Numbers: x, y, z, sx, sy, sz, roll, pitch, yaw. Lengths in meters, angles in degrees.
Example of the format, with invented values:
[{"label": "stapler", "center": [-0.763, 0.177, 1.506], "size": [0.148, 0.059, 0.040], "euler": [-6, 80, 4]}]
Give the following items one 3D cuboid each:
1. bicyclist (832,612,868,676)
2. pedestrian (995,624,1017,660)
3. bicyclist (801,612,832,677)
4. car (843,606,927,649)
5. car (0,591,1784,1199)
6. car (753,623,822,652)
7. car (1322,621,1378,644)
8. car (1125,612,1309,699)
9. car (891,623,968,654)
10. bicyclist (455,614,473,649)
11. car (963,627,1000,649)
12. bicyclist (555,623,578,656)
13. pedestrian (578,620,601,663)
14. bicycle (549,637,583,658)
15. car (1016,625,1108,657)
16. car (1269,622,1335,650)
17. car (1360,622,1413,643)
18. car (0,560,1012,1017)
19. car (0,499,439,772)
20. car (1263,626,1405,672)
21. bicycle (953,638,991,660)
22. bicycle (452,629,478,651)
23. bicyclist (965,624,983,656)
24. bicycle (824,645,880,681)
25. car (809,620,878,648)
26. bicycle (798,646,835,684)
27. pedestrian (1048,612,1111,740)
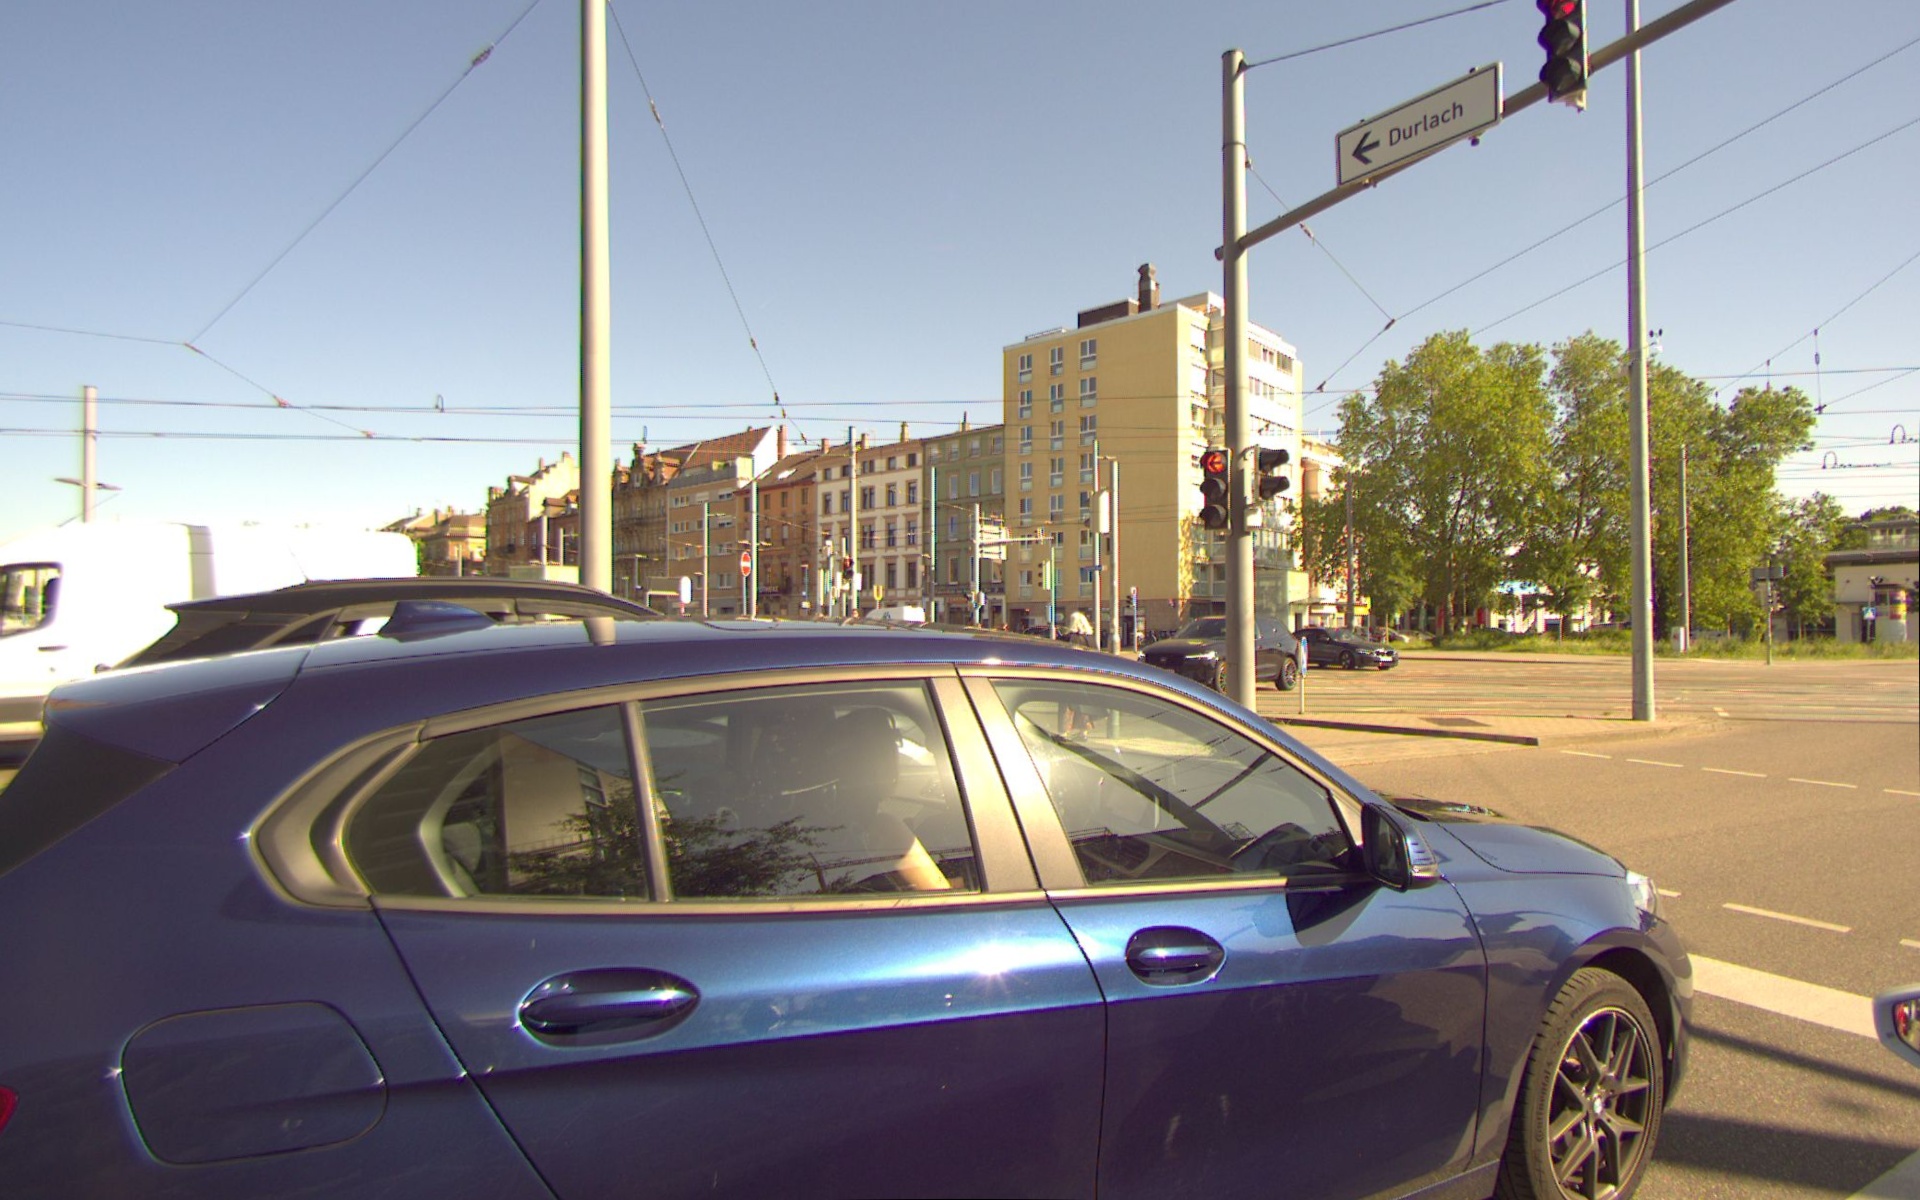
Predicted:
[{"label": "bicyclist", "center": [-2.918, 1.154, 26.613], "size": [0.672, 1.676, 0.777], "euler": [1, -1, -35]}, {"label": "pedestrian", "center": [2.073, 1.893, 45.237], "size": [0.669, 1.593, 0.740], "euler": [1, -2, -45]}, {"label": "bicyclist", "center": [-3.743, 1.147, 26.139], "size": [0.668, 1.676, 0.782], "euler": [0, -1, -18]}, {"label": "car", "center": [-5.029, 1.825, 66.967], "size": [5.838, 2.780, 2.133], "euler": [-1, -2, 42]}, {"label": "car", "center": [0.147, 0.759, 2.544], "size": [3.984, 1.464, 1.703], "euler": [1, 0, -30]}, {"label": "car", "center": [-10.383, 2.251, 60.349], "size": [4.245, 1.675, 1.849], "euler": [-2, -2, 41]}, {"label": "car", "center": [29.943, 2.500, 77.172], "size": [3.691, 1.684, 1.586], "euler": [-1, -2, 42]}, {"label": "car", "center": [5.543, 1.120, 21.451], "size": [4.040, 1.681, 1.848], "euler": [1, -2, -41]}, {"label": "car", "center": [-1.761, 2.167, 56.484], "size": [4.246, 1.675, 1.848], "euler": [-1, -2, 42]}, {"label": "bicyclist", "center": [-25.124, 1.589, 50.856], "size": [0.674, 1.735, 0.610], "euler": [1, -2, -44]}, {"label": "car", "center": [1.374, 2.494, 66.996], "size": [1.745, 1.446, 3.873], "euler": [0, -2, -10]}, {"label": "bicyclist", "center": [-17.506, 1.747, 44.677], "size": [0.774, 1.474, 0.675], "euler": [-1, -2, 42]}, {"label": "pedestrian", "center": [-15.229, 1.687, 41.260], "size": [0.672, 1.735, 0.793], "euler": [1, -1, -38]}, {"label": "bicycle", "center": [-17.539, 2.113, 44.695], "size": [1.871, 0.890, 0.675], "euler": [-1, -2, 42]}, {"label": "car", "center": [4.718, 1.884, 47.004], "size": [4.118, 1.457, 1.718], "euler": [-1, -2, 43]}, {"label": "car", "center": [21.655, 2.255, 63.662], "size": [3.691, 1.684, 1.586], "euler": [-1, -2, 42]}, {"label": "car", "center": [34.928, 2.635, 82.208], "size": [3.691, 1.684, 1.586], "euler": [-1, -2, 42]}, {"label": "car", "center": [-1.877, 0.669, 5.095], "size": [3.959, 1.537, 1.751], "euler": [1, -1, -28]}, {"label": "car", "center": [-8.811, 0.367, 10.810], "size": [5.379, 2.541, 1.975], "euler": [1, -2, -42]}, {"label": "car", "center": [13.149, 1.690, 35.541], "size": [1.845, 1.521, 4.527], "euler": [1, -2, -33]}, {"label": "bicycle", "center": [0.548, 2.251, 46.217], "size": [1.666, 0.958, 0.614], "euler": [1, -2, -30]}, {"label": "bicycle", "center": [-25.100, 2.024, 50.918], "size": [0.674, 1.120, 1.874], "euler": [1, -2, -43]}, {"label": "bicyclist", "center": [0.635, 1.844, 46.283], "size": [0.609, 1.462, 0.614], "euler": [1, -1, -30]}, {"label": "bicycle", "center": [-2.863, 1.644, 26.489], "size": [0.672, 0.890, 1.880], "euler": [1, -2, -35]}, {"label": "car", "center": [-7.233, 2.070, 62.105], "size": [4.244, 1.675, 1.849], "euler": [-1, -2, 40]}, {"label": "bicycle", "center": [-3.751, 1.669, 26.071], "size": [0.667, 0.890, 1.892], "euler": [0, -2, -17]}, {"label": "pedestrian", "center": [1.493, 0.943, 12.589], "size": [0.746, 1.575, 0.357], "euler": [0, -1, -2]}]
